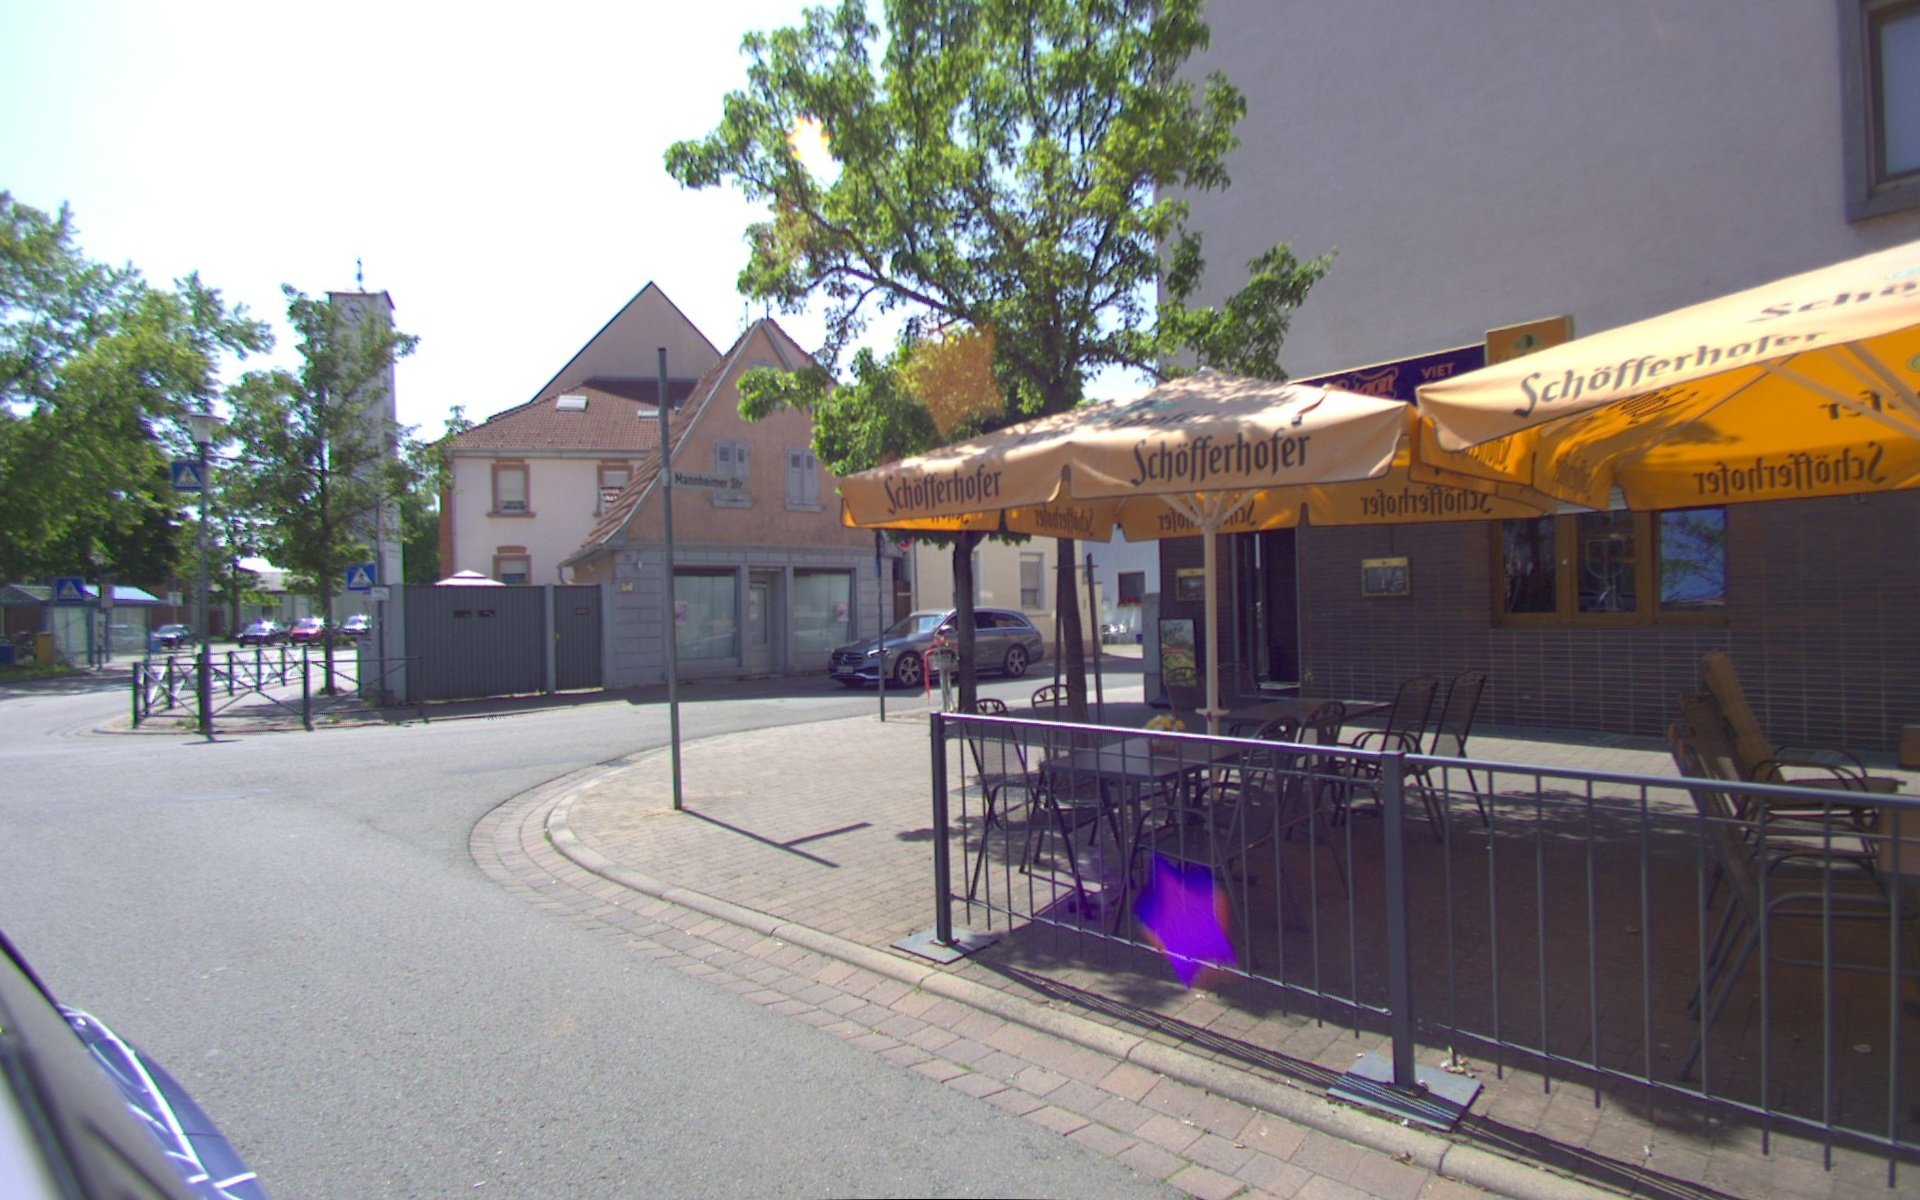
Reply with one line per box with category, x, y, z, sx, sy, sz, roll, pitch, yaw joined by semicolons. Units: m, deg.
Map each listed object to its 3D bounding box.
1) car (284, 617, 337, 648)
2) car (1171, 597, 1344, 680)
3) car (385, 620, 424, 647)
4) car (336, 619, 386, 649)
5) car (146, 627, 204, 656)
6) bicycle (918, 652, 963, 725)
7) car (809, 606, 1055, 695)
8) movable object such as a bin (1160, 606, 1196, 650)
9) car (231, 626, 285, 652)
car;-40.462;2.024;63.095;1.751;1.807;4.012;-1;-1;-17
car;5.838;0.718;19.742;3.431;1.465;1.583;-1;-2;-40
car;-36.719;2.207;66.974;1.751;1.658;4.013;-1;-1;-21
car;-37.692;2.130;63.735;1.751;1.807;4.011;0;-1;-16
car;-46.758;2.459;60.391;1.965;1.629;4.013;-1;-1;-26
bicycle;-0.280;1.182;13.851;0.458;0.904;1.416;-3;-2;-6
car;-0.443;0.935;20.143;4.770;1.492;1.917;-1;-2;-42
movable object such as a bin;7.031;0.905;32.660;0.383;1.376;1.107;-1;-2;-38
car;-42.791;2.369;61.759;1.622;1.479;3.790;-2;-1;-17
